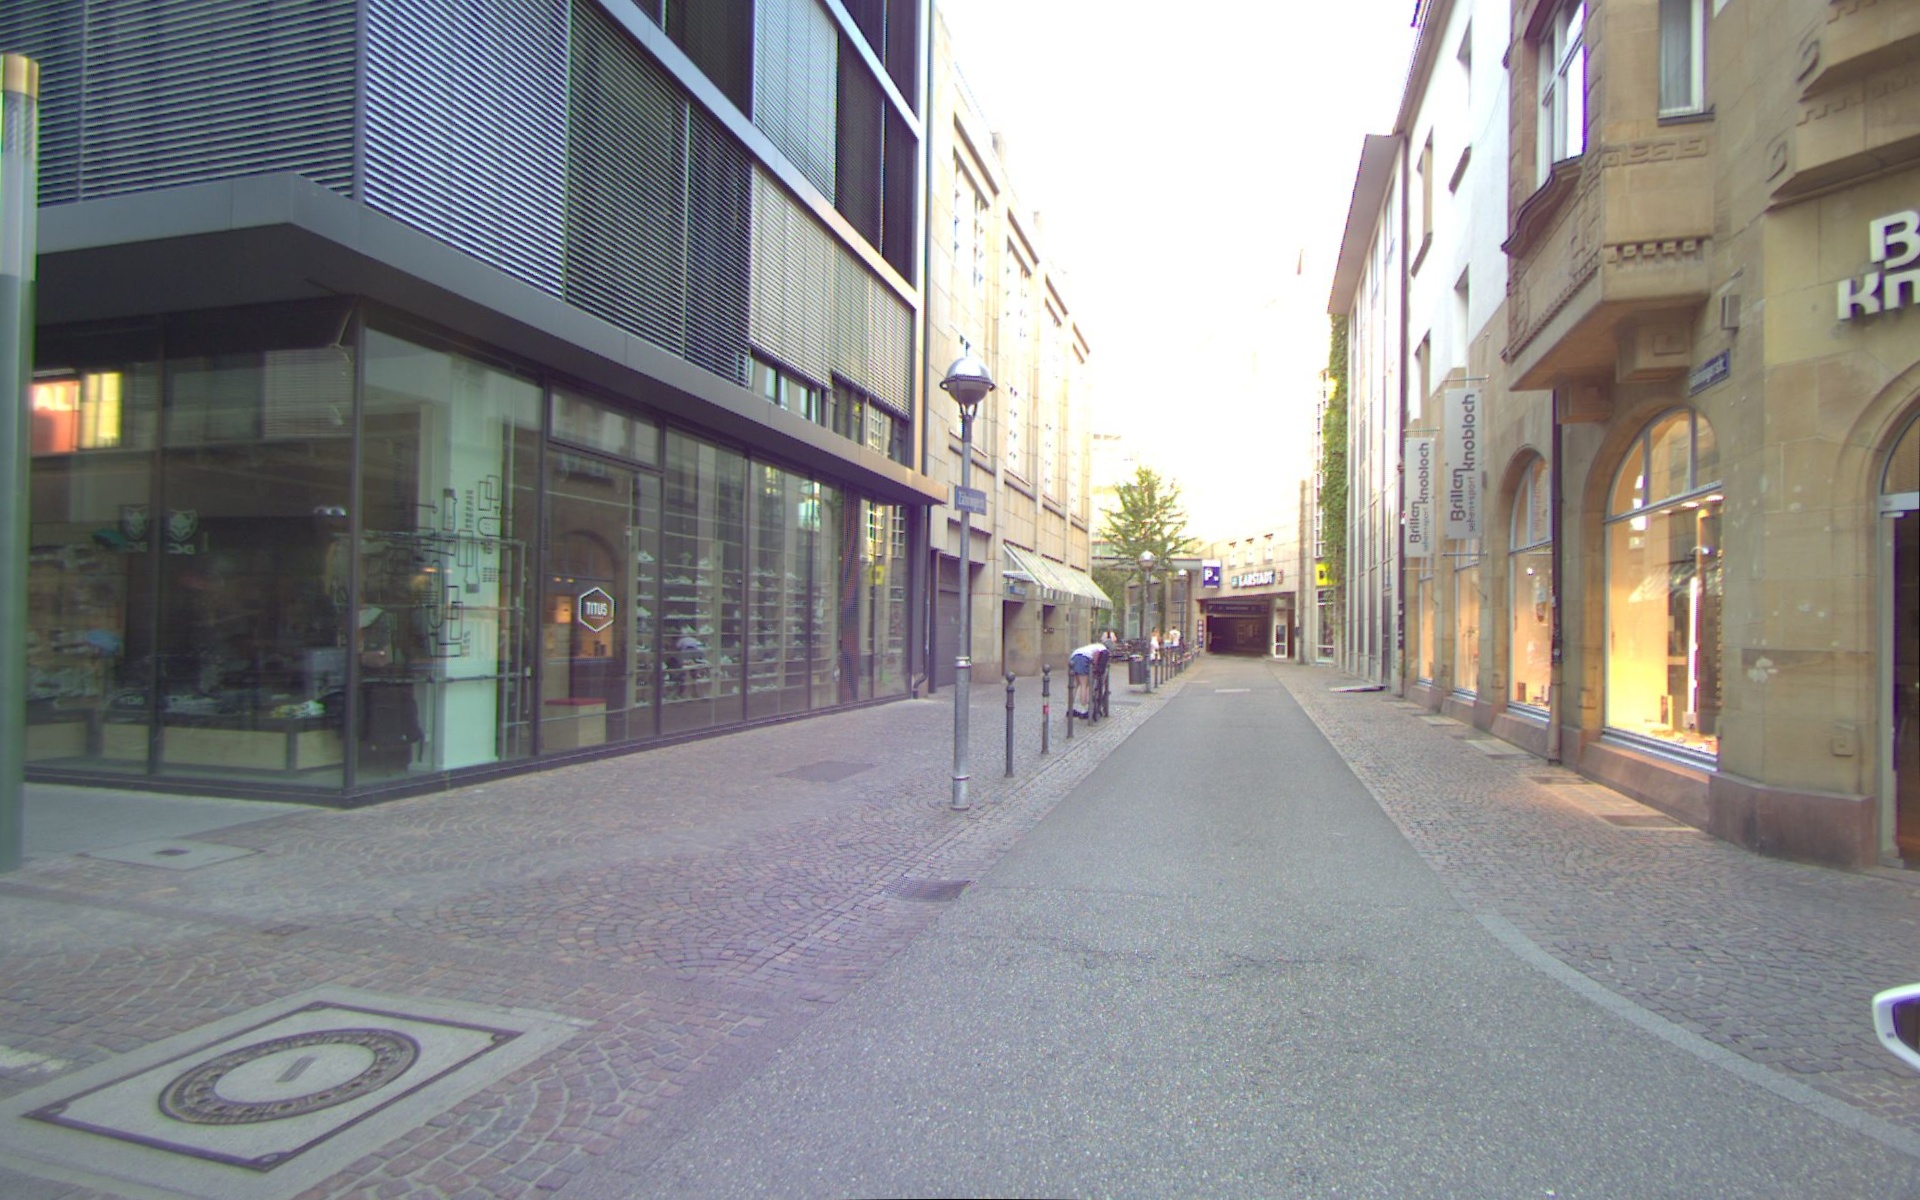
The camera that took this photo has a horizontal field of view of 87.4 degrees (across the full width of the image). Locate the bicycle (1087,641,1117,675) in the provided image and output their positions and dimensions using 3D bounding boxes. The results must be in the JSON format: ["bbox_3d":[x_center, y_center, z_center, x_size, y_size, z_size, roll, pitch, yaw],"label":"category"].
[{"bbox_3d":[4.791,1.929,33.798,0.473,1.095,2.242,0,-2,22],"label":"bicycle"}]

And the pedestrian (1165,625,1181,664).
[{"bbox_3d":[9.909,2.075,46.733,0.619,1.780,0.799,1,-1,17],"label":"pedestrian"}]

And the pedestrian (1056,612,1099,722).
[{"bbox_3d":[2.007,1.114,17.123,0.598,1.814,0.911,0,-1,15],"label":"pedestrian"}]

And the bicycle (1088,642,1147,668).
[{"bbox_3d":[7.651,2.687,48.895,2.713,1.216,0.733,1,-1,-3],"label":"bicycle"}]

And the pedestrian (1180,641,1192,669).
[{"bbox_3d":[9.700,2.363,43.095,0.458,1.183,0.522,1,-1,17],"label":"pedestrian"}]

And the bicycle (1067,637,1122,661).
[{"bbox_3d":[6.831,2.491,51.108,2.713,1.216,0.733,1,-1,-3],"label":"bicycle"}]

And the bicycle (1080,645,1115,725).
[{"bbox_3d":[2.348,1.413,17.062,0.404,1.248,1.828,0,-1,14],"label":"bicycle"}]

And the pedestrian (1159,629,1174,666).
[{"bbox_3d":[9.451,2.171,45.946,0.575,1.625,0.628,1,-1,17],"label":"pedestrian"}]

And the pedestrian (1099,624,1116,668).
[{"bbox_3d":[6.030,1.877,41.101,0.645,1.787,0.617,1,-1,3],"label":"pedestrian"}]

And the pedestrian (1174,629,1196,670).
[{"bbox_3d":[10.032,2.184,44.820,0.849,1.780,0.799,1,-1,17],"label":"pedestrian"}]

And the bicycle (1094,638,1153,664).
[{"bbox_3d":[7.775,2.433,47.813,2.713,1.216,0.733,1,-1,-3],"label":"bicycle"}]

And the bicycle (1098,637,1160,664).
[{"bbox_3d":[7.776,2.311,46.285,2.713,1.216,0.733,1,-1,-3],"label":"bicycle"}]
